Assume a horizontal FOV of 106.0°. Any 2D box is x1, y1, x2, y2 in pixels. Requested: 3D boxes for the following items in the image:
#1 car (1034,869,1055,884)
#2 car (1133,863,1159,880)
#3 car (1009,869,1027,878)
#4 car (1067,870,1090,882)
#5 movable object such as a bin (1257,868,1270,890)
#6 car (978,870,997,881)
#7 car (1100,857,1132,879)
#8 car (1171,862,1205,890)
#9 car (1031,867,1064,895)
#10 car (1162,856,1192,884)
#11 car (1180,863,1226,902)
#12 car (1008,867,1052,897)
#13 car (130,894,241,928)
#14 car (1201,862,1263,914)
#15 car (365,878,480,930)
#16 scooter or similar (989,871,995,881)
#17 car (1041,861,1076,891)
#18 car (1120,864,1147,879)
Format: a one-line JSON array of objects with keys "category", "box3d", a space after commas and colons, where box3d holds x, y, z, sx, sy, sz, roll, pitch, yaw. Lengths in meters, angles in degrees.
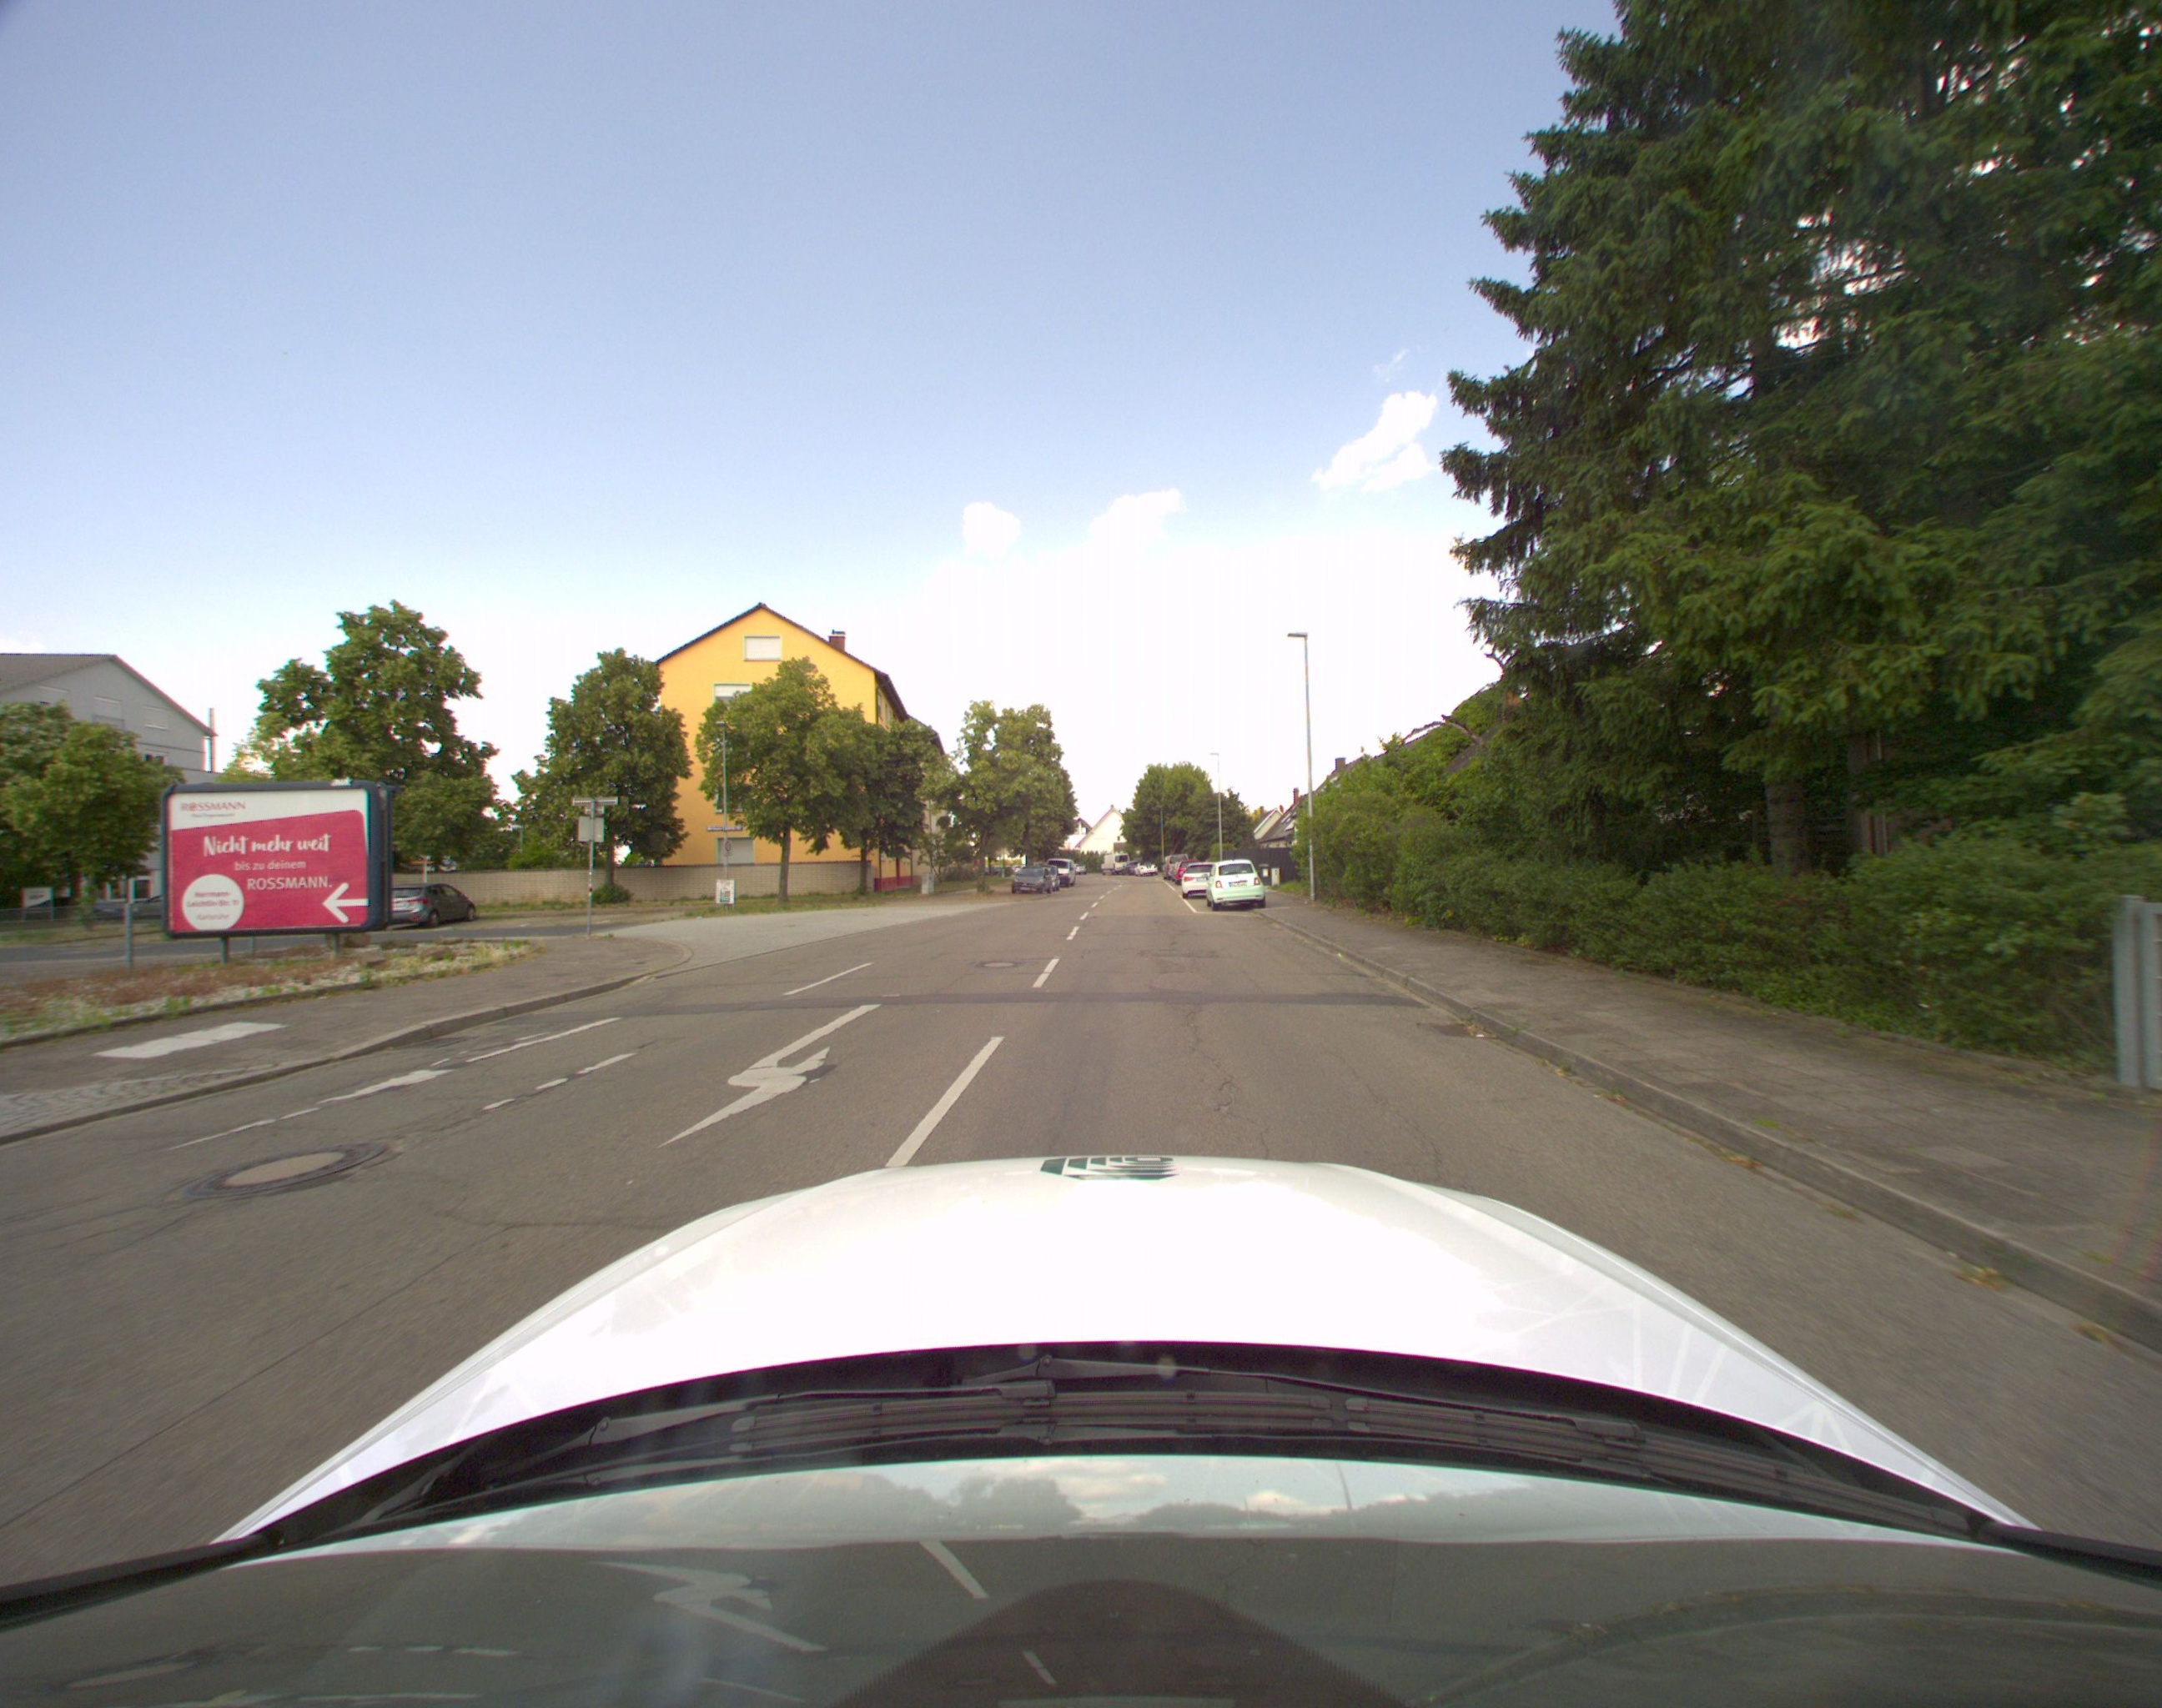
[{"category": "car", "box3d": [-3.816, 2.364, 85.535, 1.835, 1.439, 4.080, 1, -1, -8]}, {"category": "car", "box3d": [6.355, 1.725, 80.173, 1.738, 1.512, 4.448, -1, -1, -6]}, {"category": "car", "box3d": [-10.371, 3.200, 134.166, 1.803, 1.523, 3.942, -1, -1, -23]}, {"category": "car", "box3d": [-0.337, 2.907, 107.933, 1.742, 1.457, 4.337, -1, -1, -18]}, {"category": "movable object such as a bin", "box3d": [8.993, 1.233, 40.149, 0.514, 1.039, 0.631, -1, -1, 5]}, {"category": "car", "box3d": [-13.435, 3.038, 116.783, 1.793, 1.458, 4.405, 3, -3, -20]}, {"category": "car", "box3d": [3.963, 1.589, 93.888, 2.120, 2.441, 5.867, -1, -1, -13]}, {"category": "car", "box3d": [6.652, 1.349, 50.877, 1.841, 1.579, 4.738, -1, -1, 5]}, {"category": "car", "box3d": [-2.018, 1.633, 50.226, 1.511, 1.549, 3.759, 4, 0, 4]}, {"category": "car", "box3d": [7.470, 1.247, 63.760, 1.836, 1.944, 4.877, -4, -1, 1]}, {"category": "car", "box3d": [4.986, 1.131, 33.356, 1.712, 1.486, 3.757, -1, -1, 8]}, {"category": "car", "box3d": [-2.702, 1.530, 44.075, 1.675, 1.487, 3.990, 1, -2, 6]}, {"category": "car", "box3d": [-50.812, 3.220, 46.278, 3.895, 1.591, 1.644, -2, 1, -15]}, {"category": "car", "box3d": [4.771, 1.034, 26.095, 1.574, 1.520, 3.760, -1, -1, 5]}, {"category": "car", "box3d": [-24.076, 1.781, 29.963, 1.648, 1.538, 3.884, -2, 1, -13]}, {"category": "scooter or similar", "box3d": [-10.661, 2.682, 97.562, 0.420, 1.166, 1.134, 0, -1, -17]}, {"category": "car", "box3d": [-1.544, 1.497, 58.236, 1.871, 2.009, 5.328, 1, 0, 4]}, {"category": "car", "box3d": [5.588, 1.869, 87.399, 1.719, 1.585, 4.105, -1, -1, -13]}]
